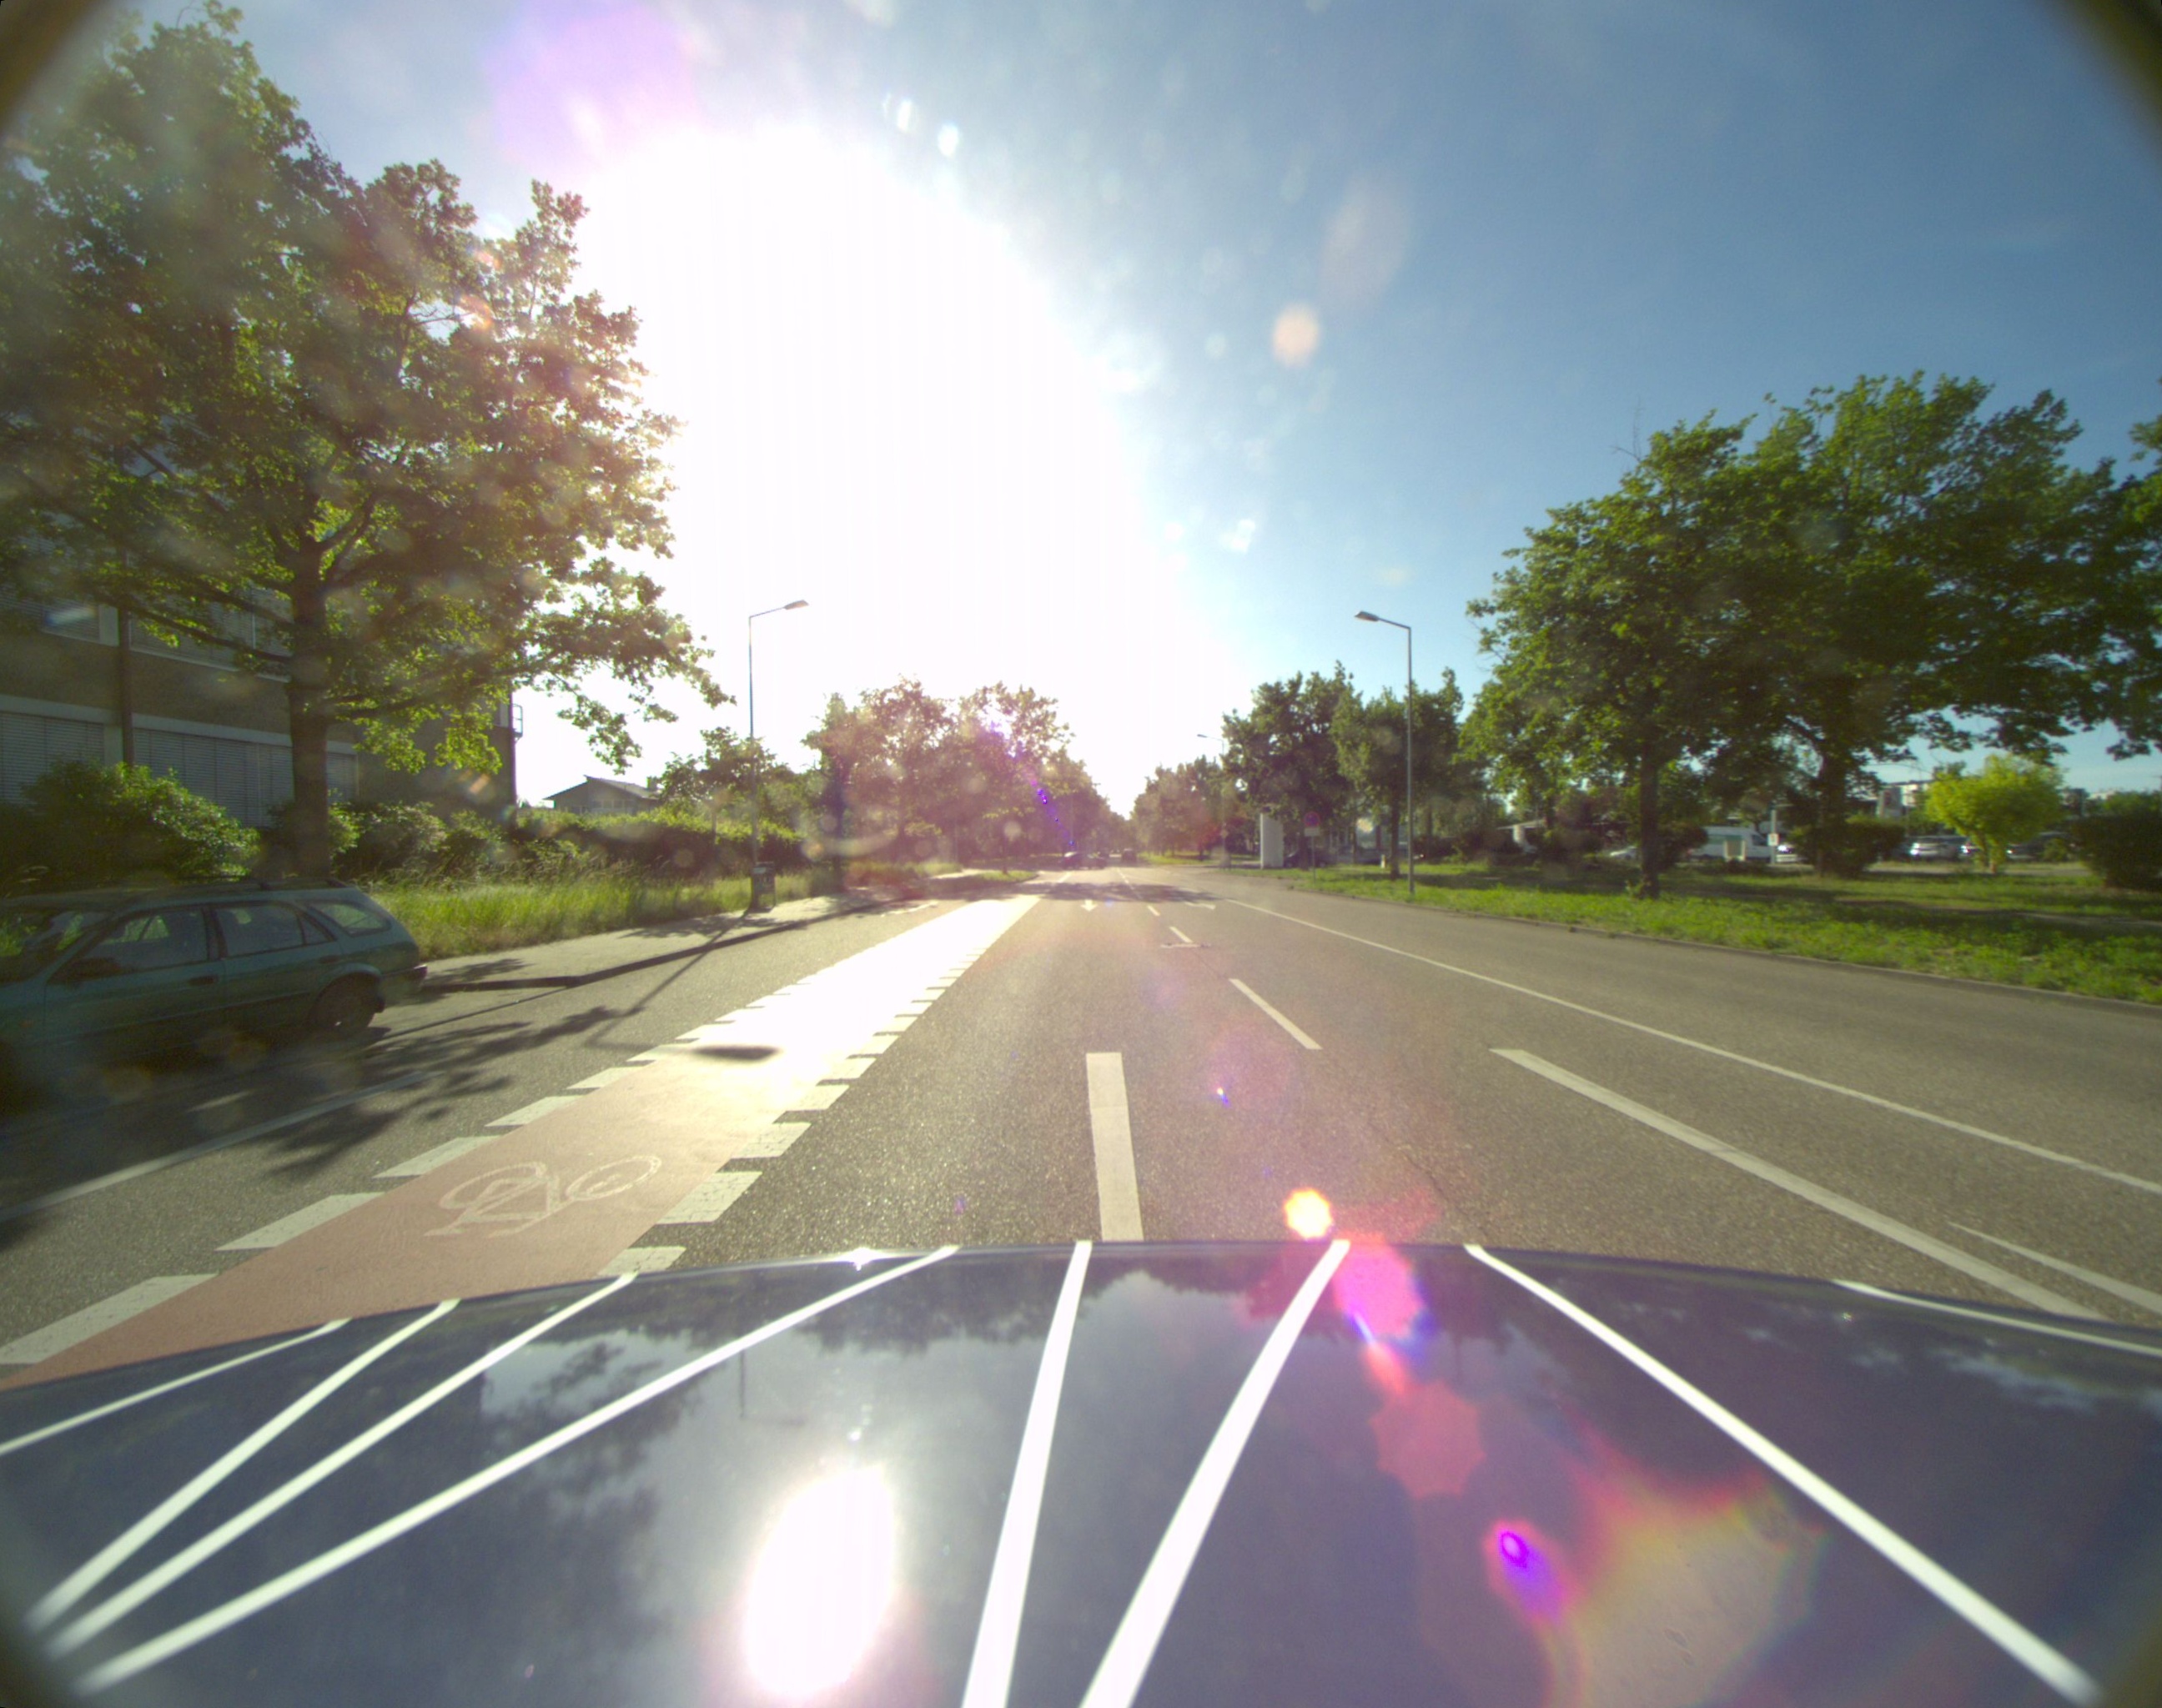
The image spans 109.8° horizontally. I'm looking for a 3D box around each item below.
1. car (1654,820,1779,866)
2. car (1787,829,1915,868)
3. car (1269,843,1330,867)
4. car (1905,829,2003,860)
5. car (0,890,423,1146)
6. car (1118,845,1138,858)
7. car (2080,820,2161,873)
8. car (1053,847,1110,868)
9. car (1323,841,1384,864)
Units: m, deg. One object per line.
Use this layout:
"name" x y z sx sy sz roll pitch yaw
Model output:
"car" 39.880 -0.691 47.788 6.023 2.540 2.409 -2 1 -4
"car" 40.047 -0.304 39.614 4.642 1.771 1.990 -2 1 0
"car" 18.377 0.094 64.066 4.463 1.822 2.000 -2 1 0
"car" 52.071 -0.552 45.360 3.860 1.662 1.762 -2 1 0
"car" -7.513 1.088 5.589 1.706 1.460 4.141 -1 0 0
"car" 5.450 -0.320 88.372 1.768 1.517 4.078 0 1 -4
"car" 33.886 -0.274 23.429 3.817 1.562 1.735 -2 0 0
"car" 0.072 0.260 61.805 4.497 1.510 1.891 -2 2 -39
"car" 23.895 -0.170 66.751 4.637 1.822 2.000 -2 1 0
